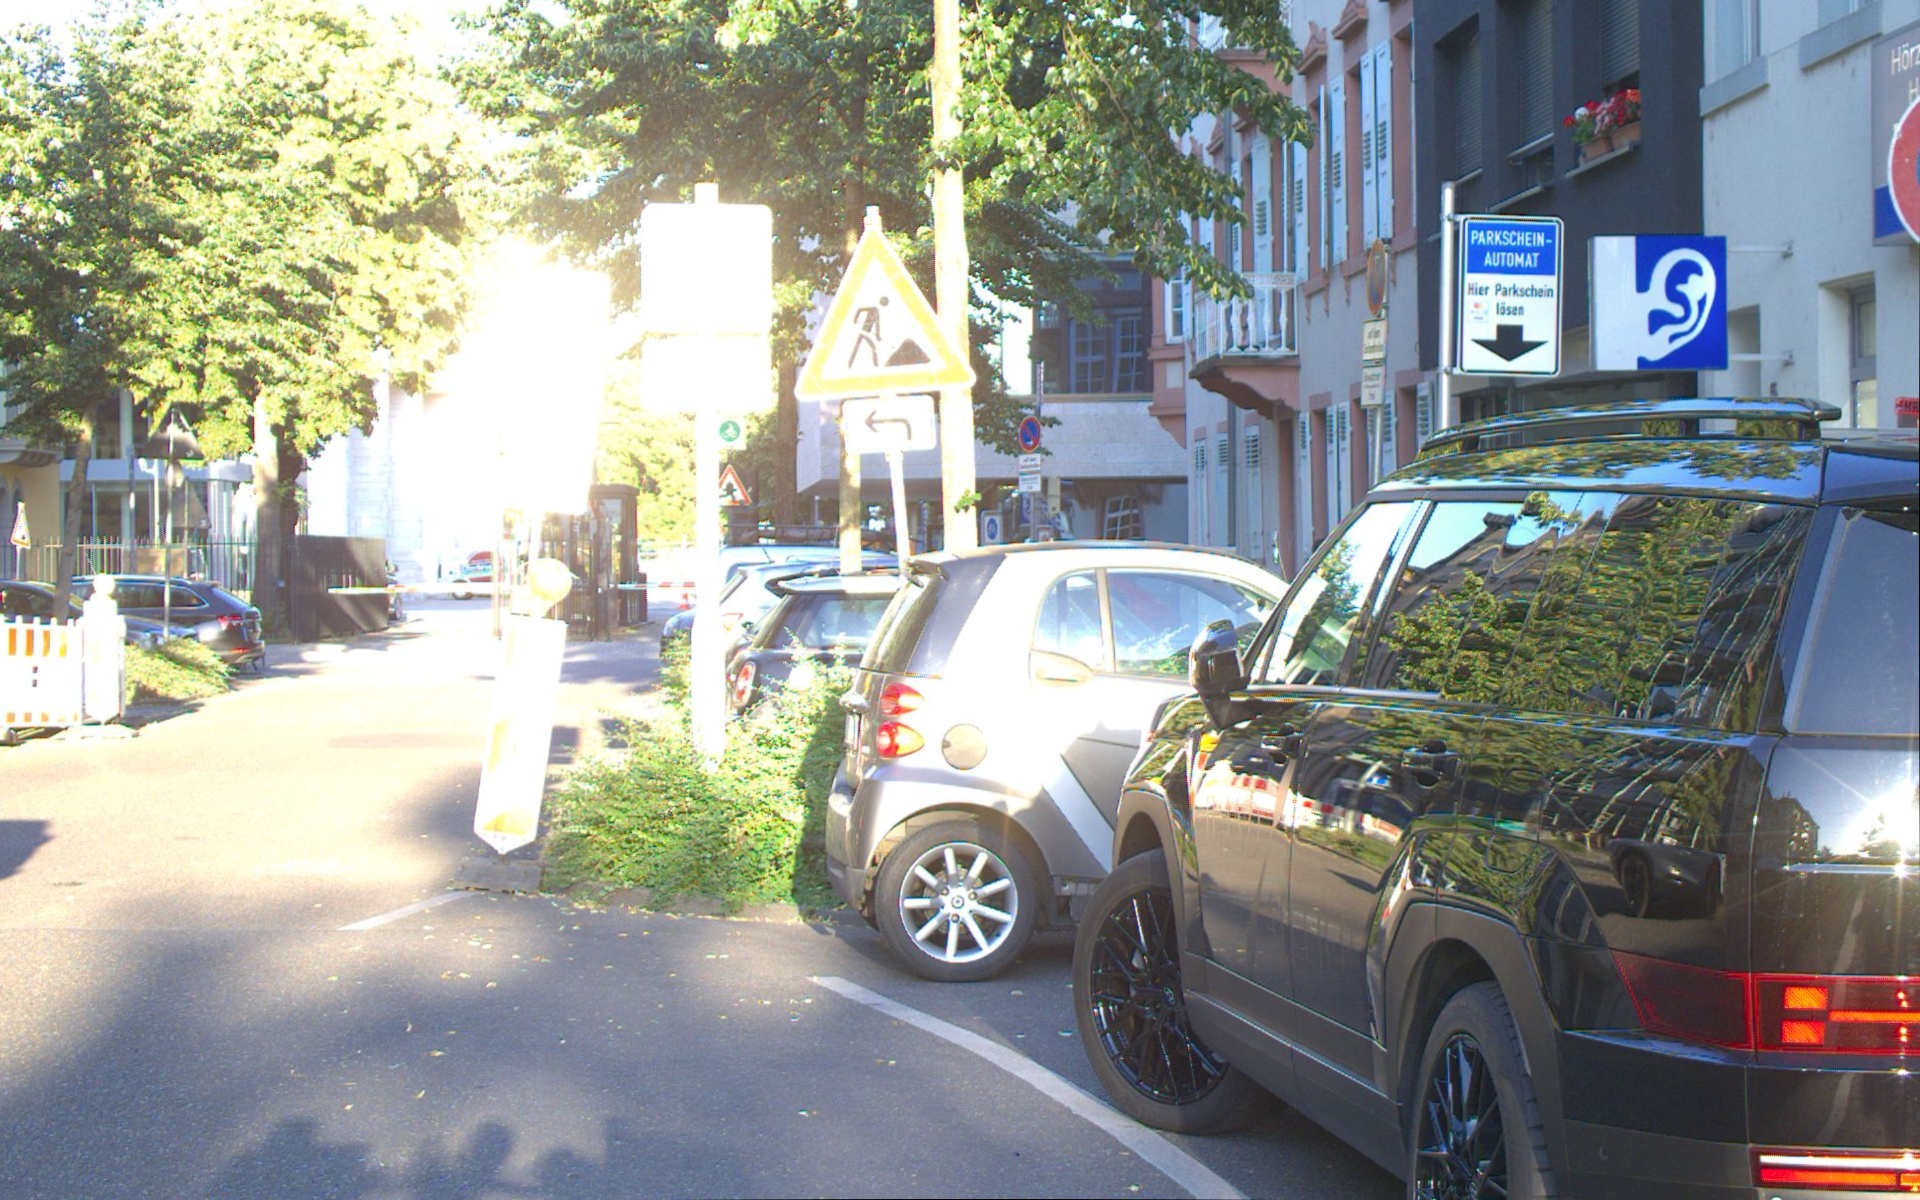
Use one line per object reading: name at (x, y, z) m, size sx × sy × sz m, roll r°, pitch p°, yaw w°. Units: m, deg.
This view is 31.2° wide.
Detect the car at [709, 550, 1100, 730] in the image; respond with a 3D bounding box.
car at (-0.586, 0.376, 33.652) m, size 3.684 × 1.664 × 1.859 m, roll 1°, pitch 1°, yaw -5°

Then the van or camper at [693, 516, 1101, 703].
van or camper at (-0.751, 0.098, 38.674) m, size 4.439 × 1.999 × 1.859 m, roll 1°, pitch 1°, yaw -5°

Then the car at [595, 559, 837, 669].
car at (-3.624, 0.194, 51.604) m, size 1.855 × 1.563 × 3.691 m, roll 1°, pitch 1°, yaw 30°

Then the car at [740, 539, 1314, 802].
car at (0.391, 0.452, 23.290) m, size 3.684 × 1.664 × 1.859 m, roll 1°, pitch 1°, yaw -5°

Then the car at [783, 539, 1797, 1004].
car at (1.175, 0.570, 12.833) m, size 3.469 × 1.570 × 1.508 m, roll -1°, pitch 1°, yaw -11°

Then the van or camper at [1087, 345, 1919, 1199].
van or camper at (1.602, 0.516, 7.109) m, size 1.889 × 1.801 × 4.462 m, roll 0°, pitch 1°, yaw -8°

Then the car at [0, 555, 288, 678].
car at (-11.607, 0.211, 48.279) m, size 3.987 × 1.678 × 1.891 m, roll 0°, pitch 1°, yaw -1°

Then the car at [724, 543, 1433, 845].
car at (0.628, 0.529, 20.448) m, size 3.994 × 1.664 × 1.859 m, roll 1°, pitch 1°, yaw -5°

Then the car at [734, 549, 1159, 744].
car at (-0.174, 0.401, 31.151) m, size 3.684 × 1.664 × 1.859 m, roll 1°, pitch 1°, yaw -5°

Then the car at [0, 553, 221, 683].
car at (-11.993, 0.228, 45.580) m, size 3.987 × 1.678 × 1.891 m, roll 0°, pitch 1°, yaw -1°
